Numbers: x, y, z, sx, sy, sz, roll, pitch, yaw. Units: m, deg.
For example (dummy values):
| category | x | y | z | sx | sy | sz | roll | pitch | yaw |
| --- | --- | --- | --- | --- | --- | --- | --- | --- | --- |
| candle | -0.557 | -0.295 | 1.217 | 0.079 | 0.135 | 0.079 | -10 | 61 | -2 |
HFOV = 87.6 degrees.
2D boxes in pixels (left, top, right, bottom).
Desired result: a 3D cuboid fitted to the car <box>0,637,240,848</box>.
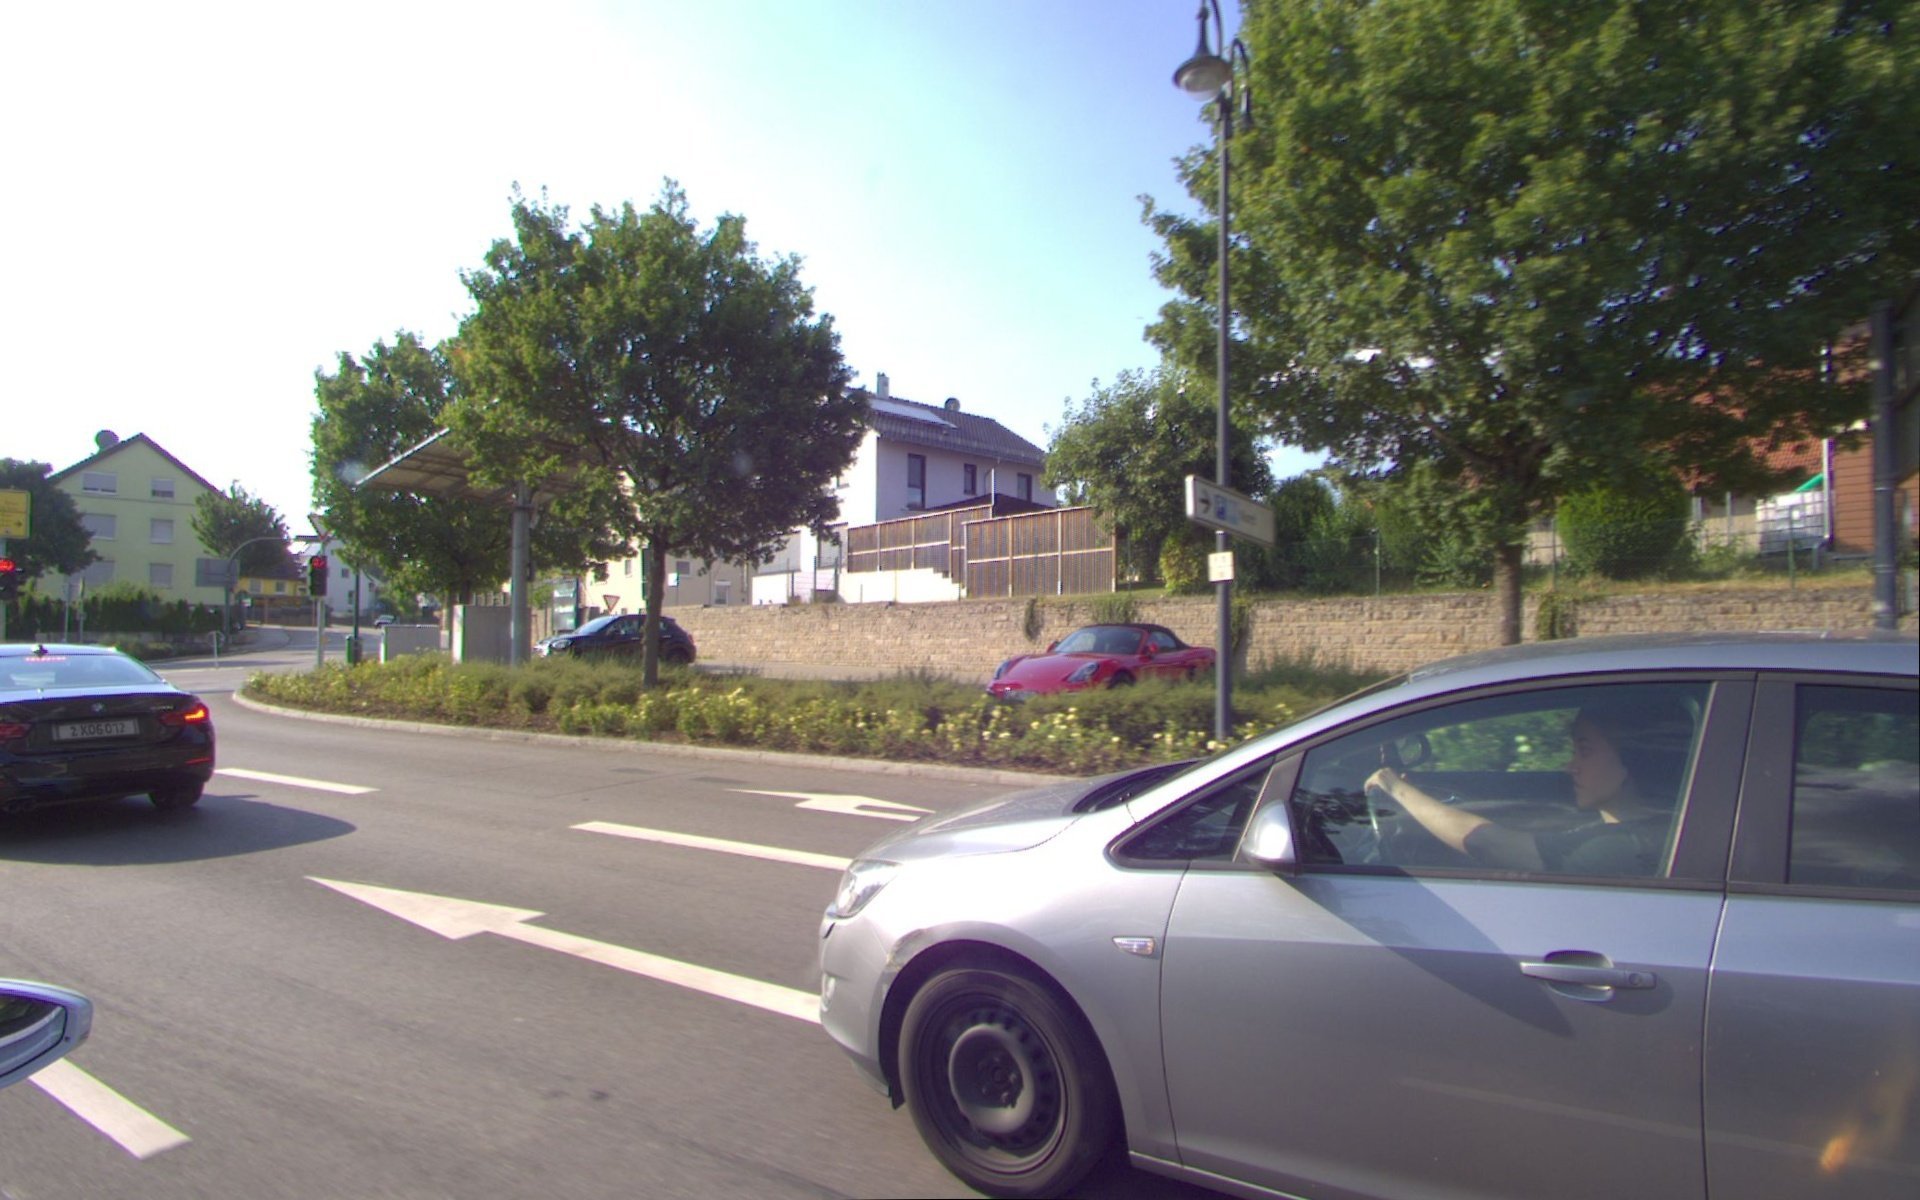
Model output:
| category | x | y | z | sx | sy | sz | roll | pitch | yaw |
| --- | --- | --- | --- | --- | --- | --- | --- | --- | --- |
| car | -7.997 | 1.023 | 8.385 | 4.287 | 1.406 | 1.812 | -1 | -2 | 34 |

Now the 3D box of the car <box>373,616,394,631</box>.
| category | x | y | z | sx | sy | sz | roll | pitch | yaw |
| --- | --- | --- | --- | --- | --- | --- | --- | --- | --- |
| car | -65.571 | 2.671 | 113.865 | 1.765 | 1.527 | 4.050 | 2 | 1 | -26 |

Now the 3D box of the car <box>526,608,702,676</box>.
| category | x | y | z | sx | sy | sz | roll | pitch | yaw |
| --- | --- | --- | --- | --- | --- | --- | --- | --- | --- |
| car | -8.960 | 1.083 | 26.125 | 1.835 | 1.628 | 3.964 | -1 | -2 | 44 |

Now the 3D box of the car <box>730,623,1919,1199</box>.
| category | x | y | z | sx | sy | sz | roll | pitch | yaw |
| --- | --- | --- | --- | --- | --- | --- | --- | --- | --- |
| car | 1.505 | 0.803 | 2.672 | 4.106 | 1.460 | 1.741 | -1 | -2 | 31 |

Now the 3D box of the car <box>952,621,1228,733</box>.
| category | x | y | z | sx | sy | sz | roll | pitch | yaw |
| --- | --- | --- | --- | --- | --- | --- | --- | --- | --- |
| car | 1.887 | 0.962 | 13.603 | 1.833 | 1.288 | 3.968 | -1 | -2 | 41 |
